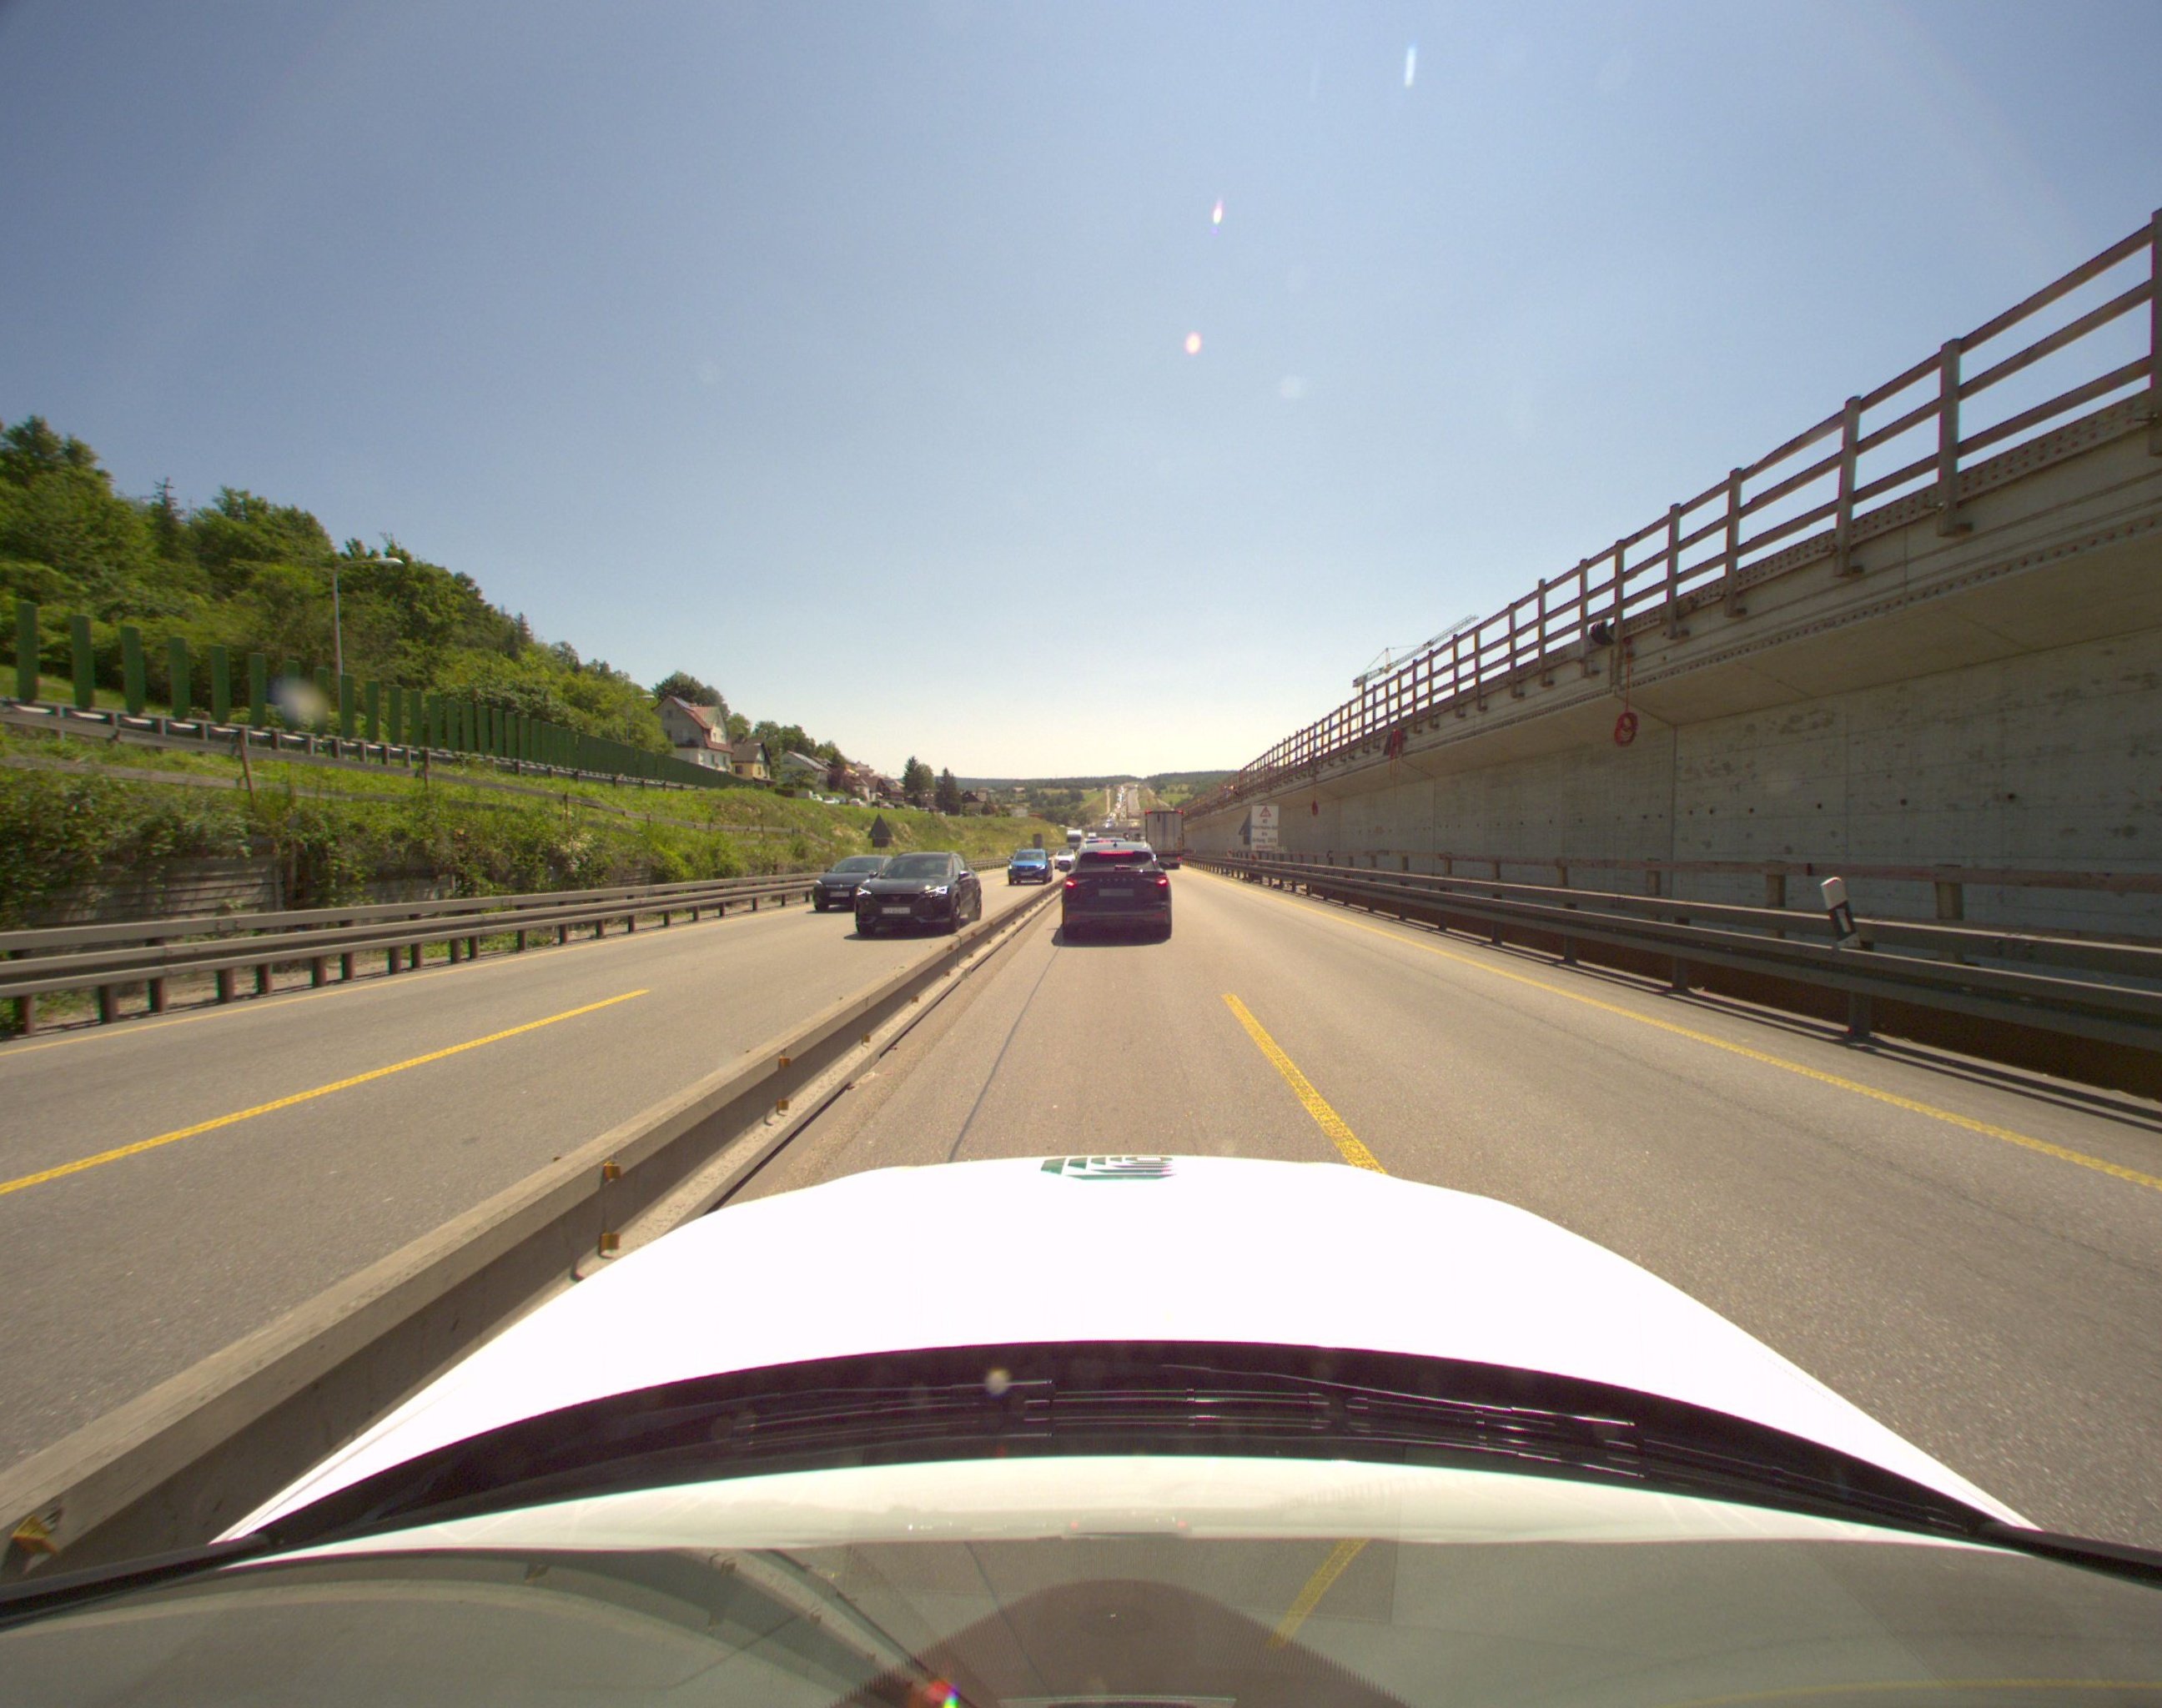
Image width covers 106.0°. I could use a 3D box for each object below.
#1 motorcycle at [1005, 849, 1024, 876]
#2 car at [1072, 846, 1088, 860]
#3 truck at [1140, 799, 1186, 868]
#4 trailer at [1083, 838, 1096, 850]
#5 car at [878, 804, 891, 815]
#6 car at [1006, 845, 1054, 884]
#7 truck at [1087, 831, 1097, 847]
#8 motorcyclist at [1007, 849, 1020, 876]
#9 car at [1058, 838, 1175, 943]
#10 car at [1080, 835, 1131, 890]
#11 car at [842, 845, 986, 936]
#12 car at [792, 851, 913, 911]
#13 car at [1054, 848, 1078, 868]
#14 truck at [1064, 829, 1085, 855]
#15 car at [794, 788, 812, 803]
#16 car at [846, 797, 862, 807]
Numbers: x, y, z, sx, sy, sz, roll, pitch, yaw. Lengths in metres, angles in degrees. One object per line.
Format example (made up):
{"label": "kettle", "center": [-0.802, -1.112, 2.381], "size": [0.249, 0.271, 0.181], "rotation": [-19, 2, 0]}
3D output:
{"label": "motorcycle", "center": [-3.994, 0.472, 49.154], "size": [0.787, 1.551, 2.623], "rotation": [0, 1, 2]}
{"label": "car", "center": [-0.111, -0.097, 90.161], "size": [1.685, 1.486, 3.750], "rotation": [-1, 0, 1]}
{"label": "truck", "center": [5.953, -1.336, 60.851], "size": [2.834, 4.615, 11.819], "rotation": [0, 0, 3]}
{"label": "trailer", "center": [1.980, -2.335, 186.066], "size": [2.474, 2.613, 5.872], "rotation": [-2, -1, 3]}
{"label": "car", "center": [-35.657, -8.040, 147.685], "size": [1.924, 1.728, 3.989], "rotation": [-1, 0, -8]}
{"label": "car", "center": [-2.252, 0.441, 36.875], "size": [1.757, 1.610, 3.894], "rotation": [-1, 0, 2]}
{"label": "truck", "center": [3.269, -4.323, 237.914], "size": [2.742, 4.227, 8.105], "rotation": [-1, 0, 3]}
{"label": "motorcyclist", "center": [-4.036, 0.504, 49.000], "size": [0.663, 1.585, 0.736], "rotation": [-1, -1, 2]}
{"label": "car", "center": [0.593, 0.560, 14.505], "size": [1.776, 1.597, 3.756], "rotation": [-1, 0, 1]}
{"label": "car", "center": [0.861, 0.300, 30.575], "size": [1.744, 1.895, 3.755], "rotation": [1, 0, 0]}
{"label": "car", "center": [-3.117, 0.644, 16.118], "size": [1.836, 1.530, 4.295], "rotation": [-1, 0, 2]}
{"label": "car", "center": [-6.125, 0.686, 22.514], "size": [1.807, 1.448, 5.008], "rotation": [1, 0, 1]}
{"label": "car", "center": [-1.184, 0.279, 64.925], "size": [1.760, 1.486, 3.866], "rotation": [-1, 0, 1]}
{"label": "truck", "center": [-1.126, -1.958, 138.119], "size": [3.173, 4.238, 6.477], "rotation": [-1, 0, -3]}
{"label": "car", "center": [-32.926, -6.906, 96.471], "size": [1.731, 1.398, 3.781], "rotation": [1, 0, -16]}
{"label": "car", "center": [-35.692, -8.178, 128.084], "size": [1.993, 1.319, 3.988], "rotation": [3, 0, -9]}
